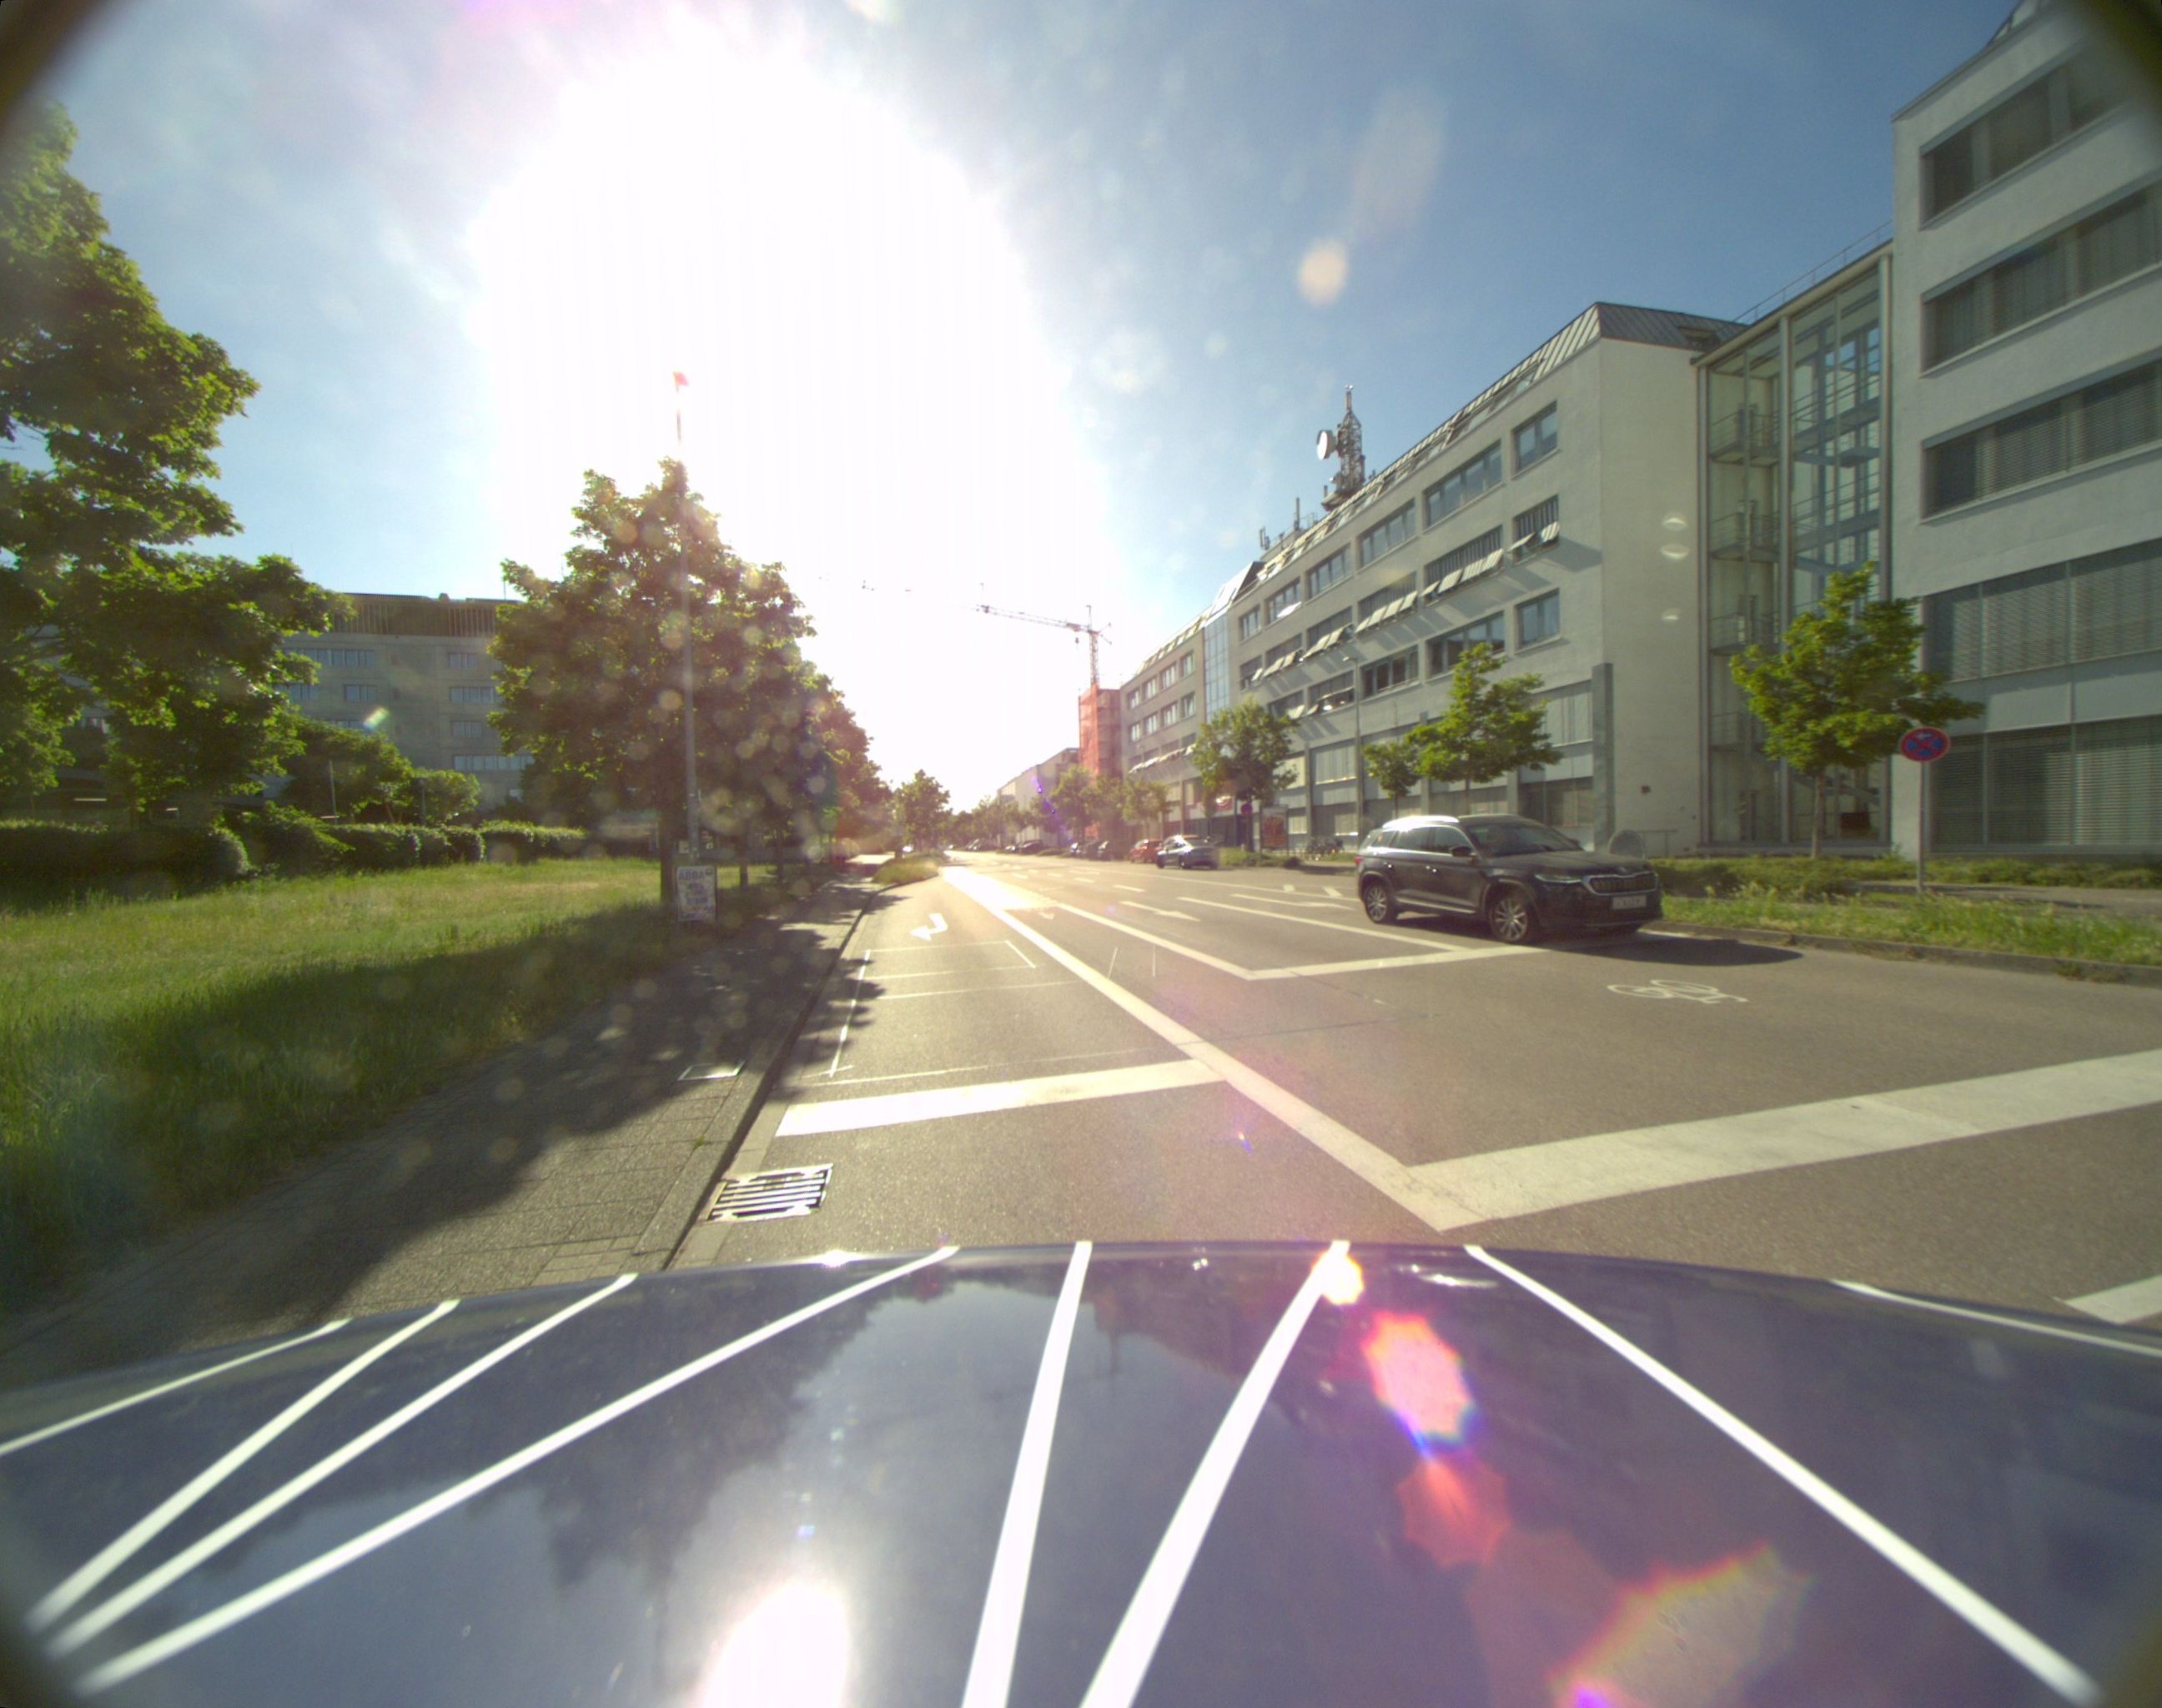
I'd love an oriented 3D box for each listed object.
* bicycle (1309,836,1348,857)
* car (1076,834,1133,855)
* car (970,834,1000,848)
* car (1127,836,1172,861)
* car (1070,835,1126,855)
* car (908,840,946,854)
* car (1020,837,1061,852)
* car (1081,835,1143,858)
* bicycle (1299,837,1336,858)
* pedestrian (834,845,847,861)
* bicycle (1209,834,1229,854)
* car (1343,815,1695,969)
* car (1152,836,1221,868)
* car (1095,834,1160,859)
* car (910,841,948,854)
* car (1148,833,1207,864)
[{"bbox_3d":[12.706,-0.387,39.074,1.794,1.063,0.621,-1,2,-5],"label":"bicycle"},{"bbox_3d":[1.975,-0.829,63.420,4.401,1.424,1.691,-4,2,-14],"label":"car"},{"bbox_3d":[-19.209,-2.579,152.323,5.588,2.469,2.008,-4,2,-11],"label":"car"},{"bbox_3d":[4.355,-0.354,48.762,1.694,1.424,3.866,-4,2,-13],"label":"car"},{"bbox_3d":[1.433,-0.769,65.315,4.401,1.424,1.691,-4,2,-14],"label":"car"},{"bbox_3d":[-18.838,-0.894,92.837,4.418,1.632,2.071,-1,1,-13],"label":"car"},{"bbox_3d":[-4.729,-1.094,88.838,4.402,1.424,1.974,-4,2,-16],"label":"car"},{"bbox_3d":[2.411,-0.576,59.224,4.401,1.424,1.691,-4,2,-16],"label":"car"},{"bbox_3d":[12.357,-0.362,39.788,1.772,1.063,0.555,-1,2,-5],"label":"bicycle"},{"bbox_3d":[-18.944,-0.093,59.862,0.848,1.210,0.727,-1,2,-25],"label":"pedestrian"},{"bbox_3d":[9.539,-0.709,52.500,0.711,1.339,2.230,-1,2,-7],"label":"bicycle"},{"bbox_3d":[5.810,0.384,10.867,1.760,1.619,4.472,-4,2,-12],"label":"car"},{"bbox_3d":[5.176,-0.106,37.827,1.694,1.460,4.540,-1,1,-16],"label":"car"},{"bbox_3d":[3.438,-0.590,56.334,4.402,1.529,1.691,-5,2,-17],"label":"car"},{"bbox_3d":[-18.152,-0.744,90.656,4.418,1.455,1.893,-1,1,-13],"label":"car"},{"bbox_3d":[5.536,-0.333,44.047,1.694,1.598,4.303,-5,2,-17],"label":"car"}]
